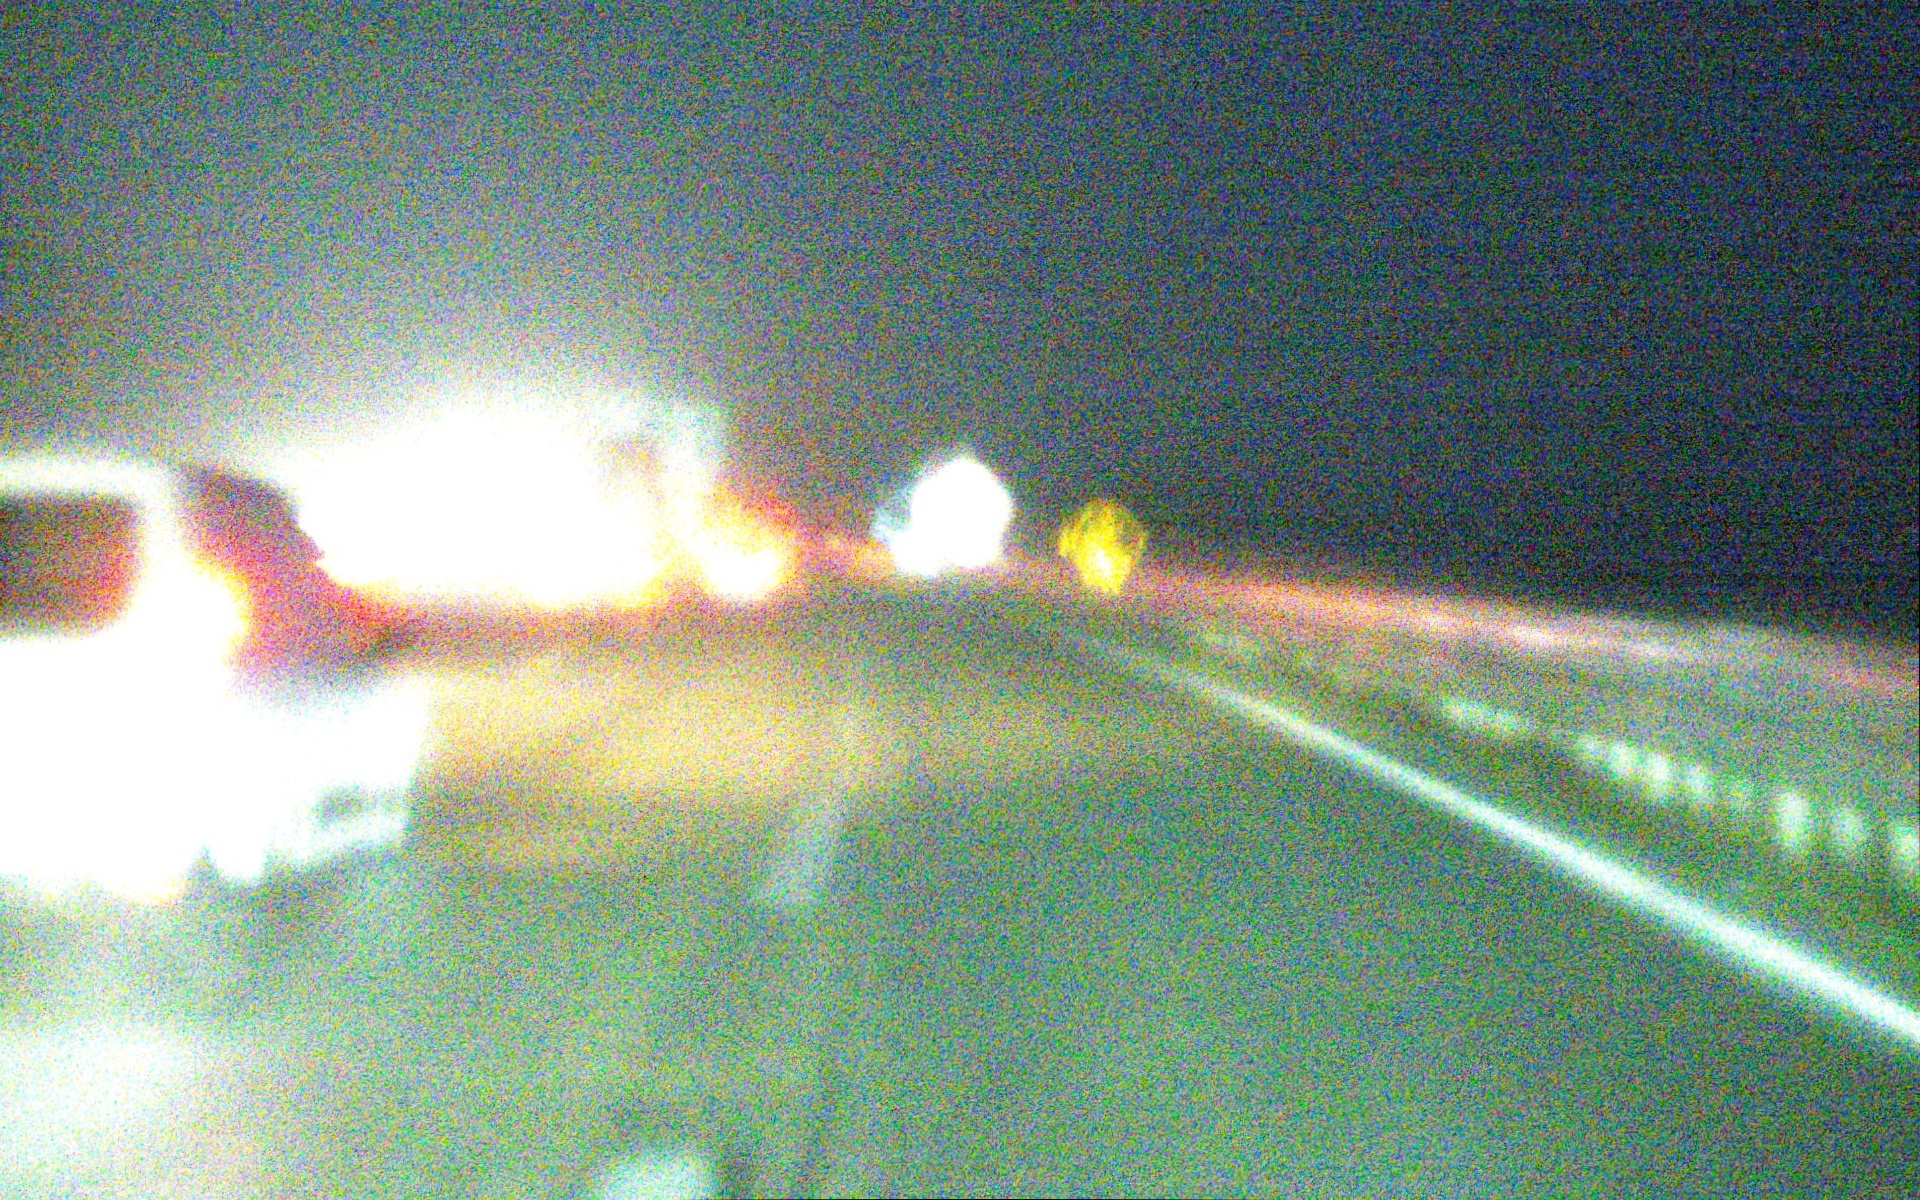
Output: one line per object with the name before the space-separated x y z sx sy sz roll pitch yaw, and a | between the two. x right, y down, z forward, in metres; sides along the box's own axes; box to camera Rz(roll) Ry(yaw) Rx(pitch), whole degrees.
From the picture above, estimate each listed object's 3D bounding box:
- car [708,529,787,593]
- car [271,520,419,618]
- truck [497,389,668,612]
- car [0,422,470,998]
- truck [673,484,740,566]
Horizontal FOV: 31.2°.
car | -5.944 -1.099 95.680 1.993 1.701 4.196 1 1 -6
car | -11.327 -0.586 63.537 1.993 1.701 4.196 1 1 0
truck | -10.101 -2.599 92.766 4.166 5.525 13.077 1 1 -6
car | -3.310 0.295 13.306 1.953 1.786 5.124 1 1 1
truck | -15.843 -4.633 214.114 3.823 4.898 11.608 1 1 -6
